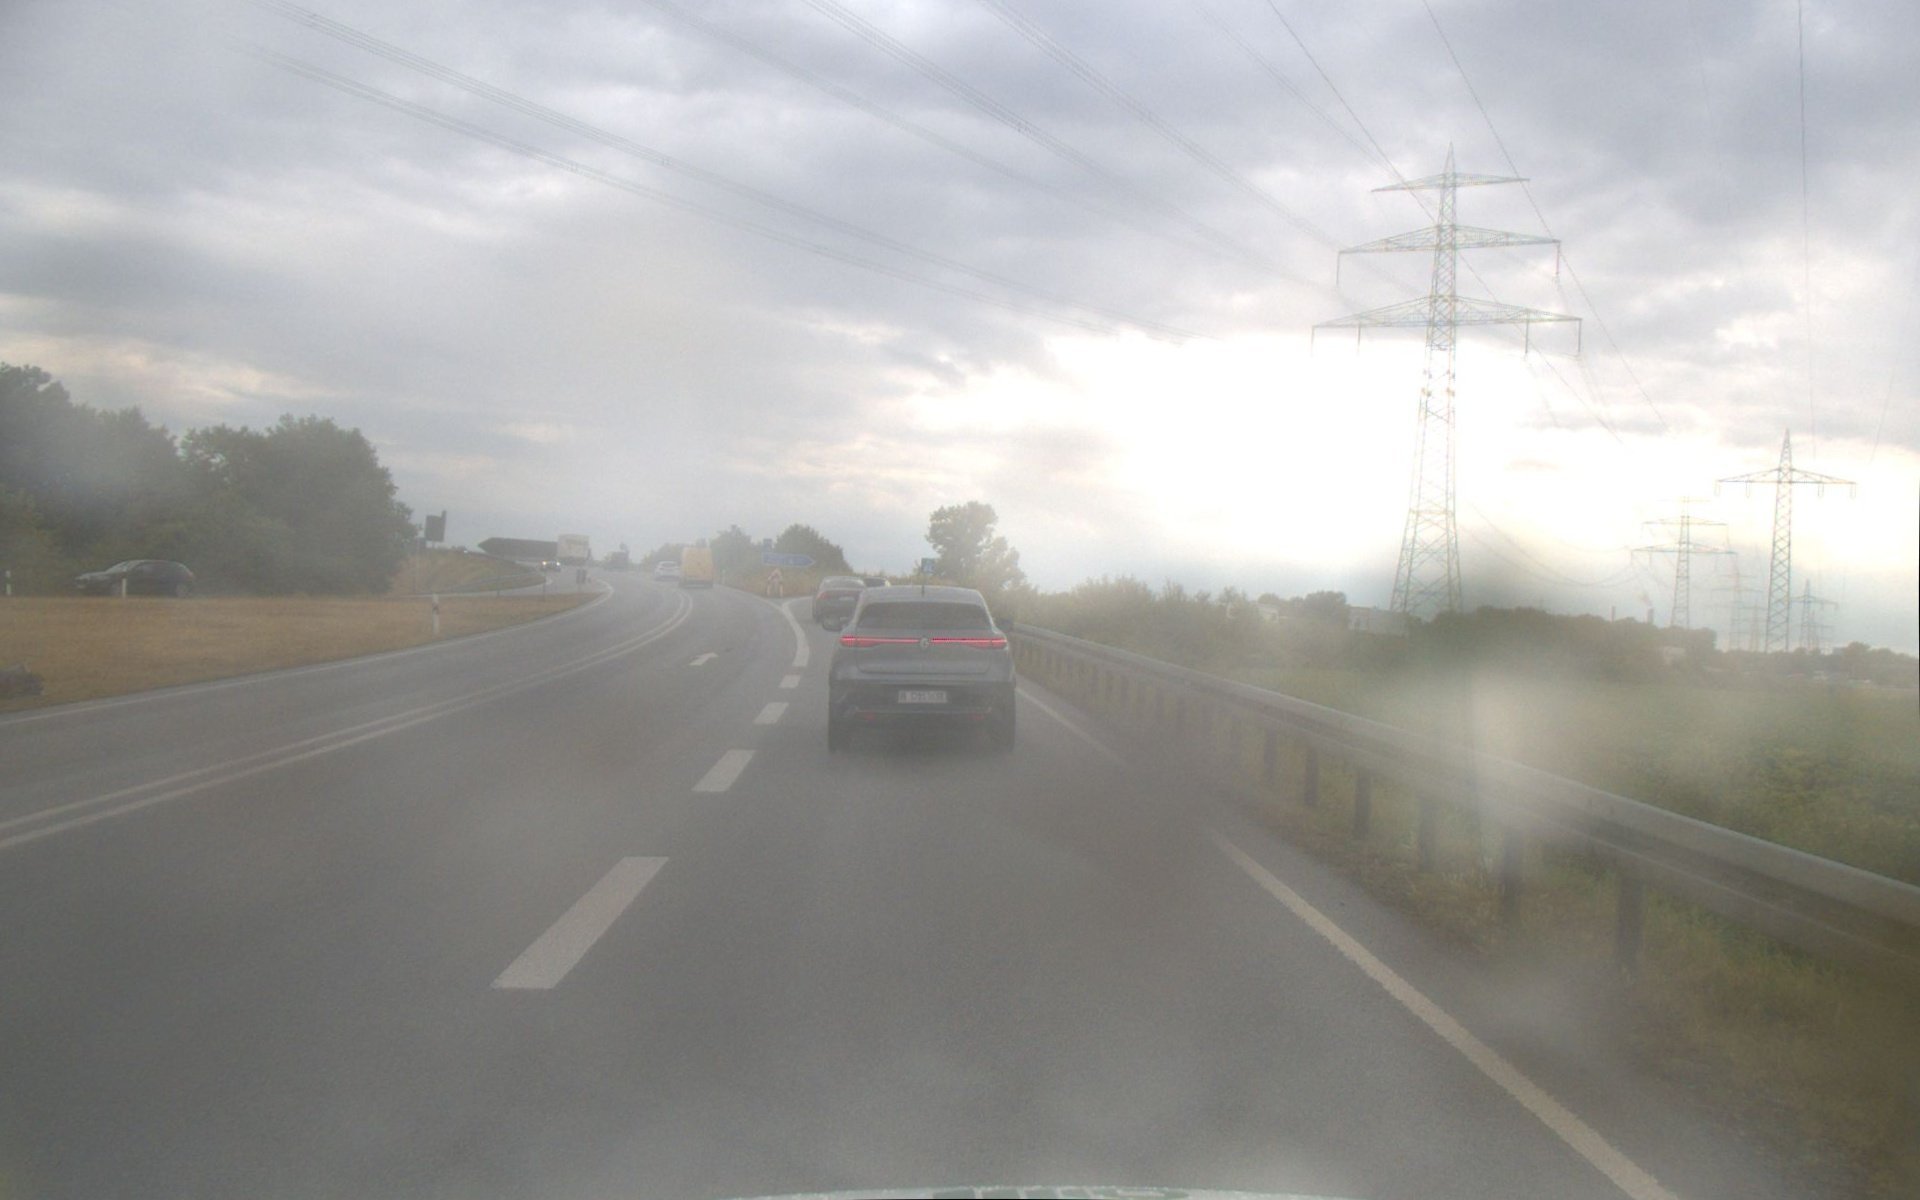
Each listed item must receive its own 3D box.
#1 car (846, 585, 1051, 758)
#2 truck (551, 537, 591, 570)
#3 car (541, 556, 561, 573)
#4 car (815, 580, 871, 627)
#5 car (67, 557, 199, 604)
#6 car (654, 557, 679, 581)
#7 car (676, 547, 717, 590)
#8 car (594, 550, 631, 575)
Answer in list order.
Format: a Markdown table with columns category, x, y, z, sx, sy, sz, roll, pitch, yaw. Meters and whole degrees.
| category | x | y | z | sx | sy | sz | roll | pitch | yaw |
| --- | --- | --- | --- | --- | --- | --- | --- | --- | --- |
| car | -0.148 | 0.634 | 16.377 | 1.755 | 1.466 | 3.999 | 1 | 0 | -2 |
| truck | -45.423 | -5.387 | 193.067 | 3.006 | 3.444 | 7.585 | 2 | -1 | -24 |
| car | -37.985 | -3.305 | 153.629 | 1.715 | 1.389 | 4.034 | -2 | 0 | -15 |
| car | -3.945 | 0.108 | 55.356 | 1.756 | 1.466 | 3.996 | 1 | 0 | -5 |
| car | -30.589 | -0.708 | 61.252 | 1.950 | 1.631 | 3.898 | 2 | 1 | 38 |
| car | -22.861 | -2.395 | 128.643 | 1.759 | 1.717 | 3.988 | 2 | -1 | -11 |
| car | -17.415 | -2.110 | 109.227 | 2.526 | 2.772 | 7.181 | -1 | 2 | -9 |
| car | -35.159 | -3.735 | 167.246 | 2.568 | 2.290 | 5.492 | 2 | -1 | -24 |
